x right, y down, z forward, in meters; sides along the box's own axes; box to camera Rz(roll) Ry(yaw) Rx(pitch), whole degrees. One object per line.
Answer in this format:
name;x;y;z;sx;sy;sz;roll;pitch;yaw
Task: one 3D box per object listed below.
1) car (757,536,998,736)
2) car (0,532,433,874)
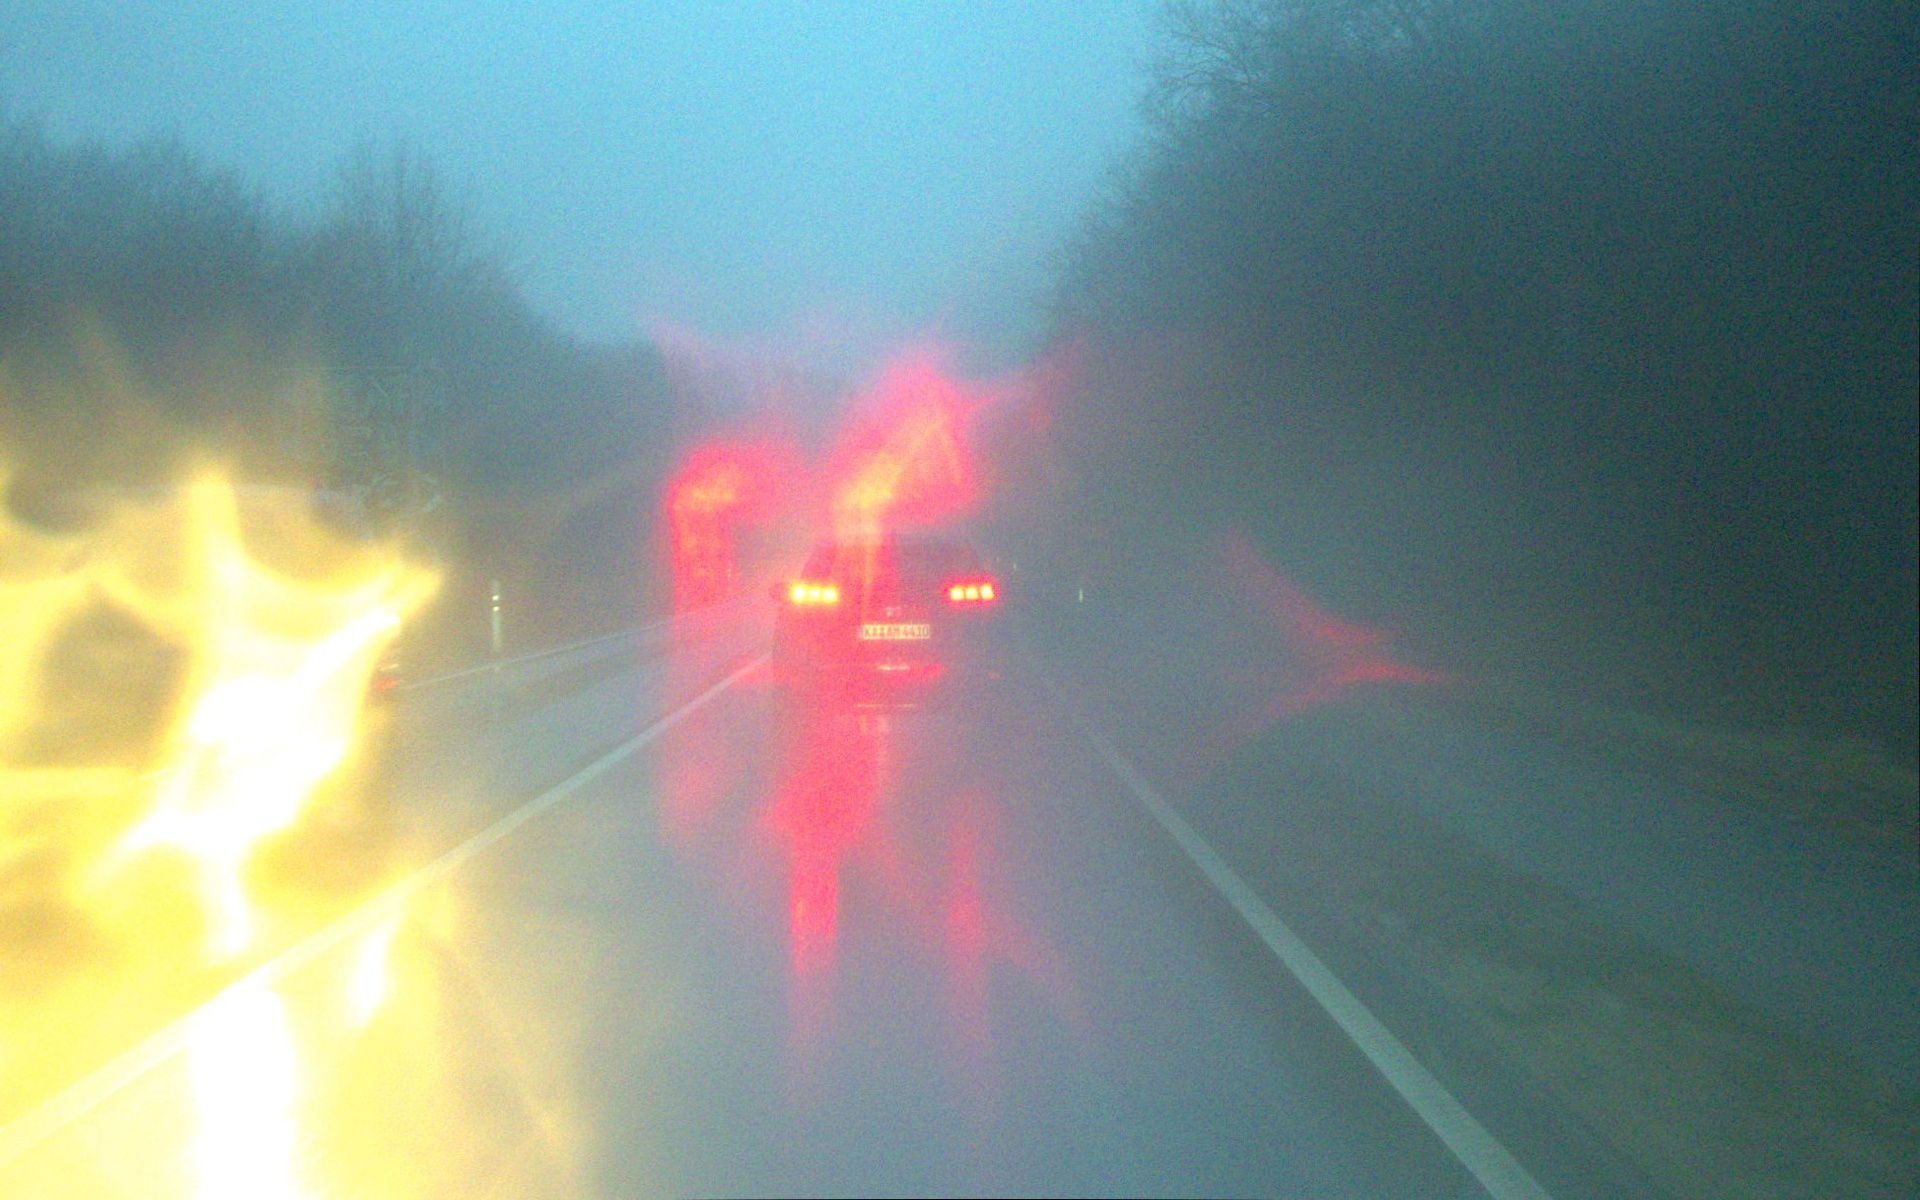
car;-0.600;0.218;26.115;1.678;1.385;4.098;0;1;-1
car;-3.766;0.403;16.541;1.814;1.433;4.098;0;1;0
